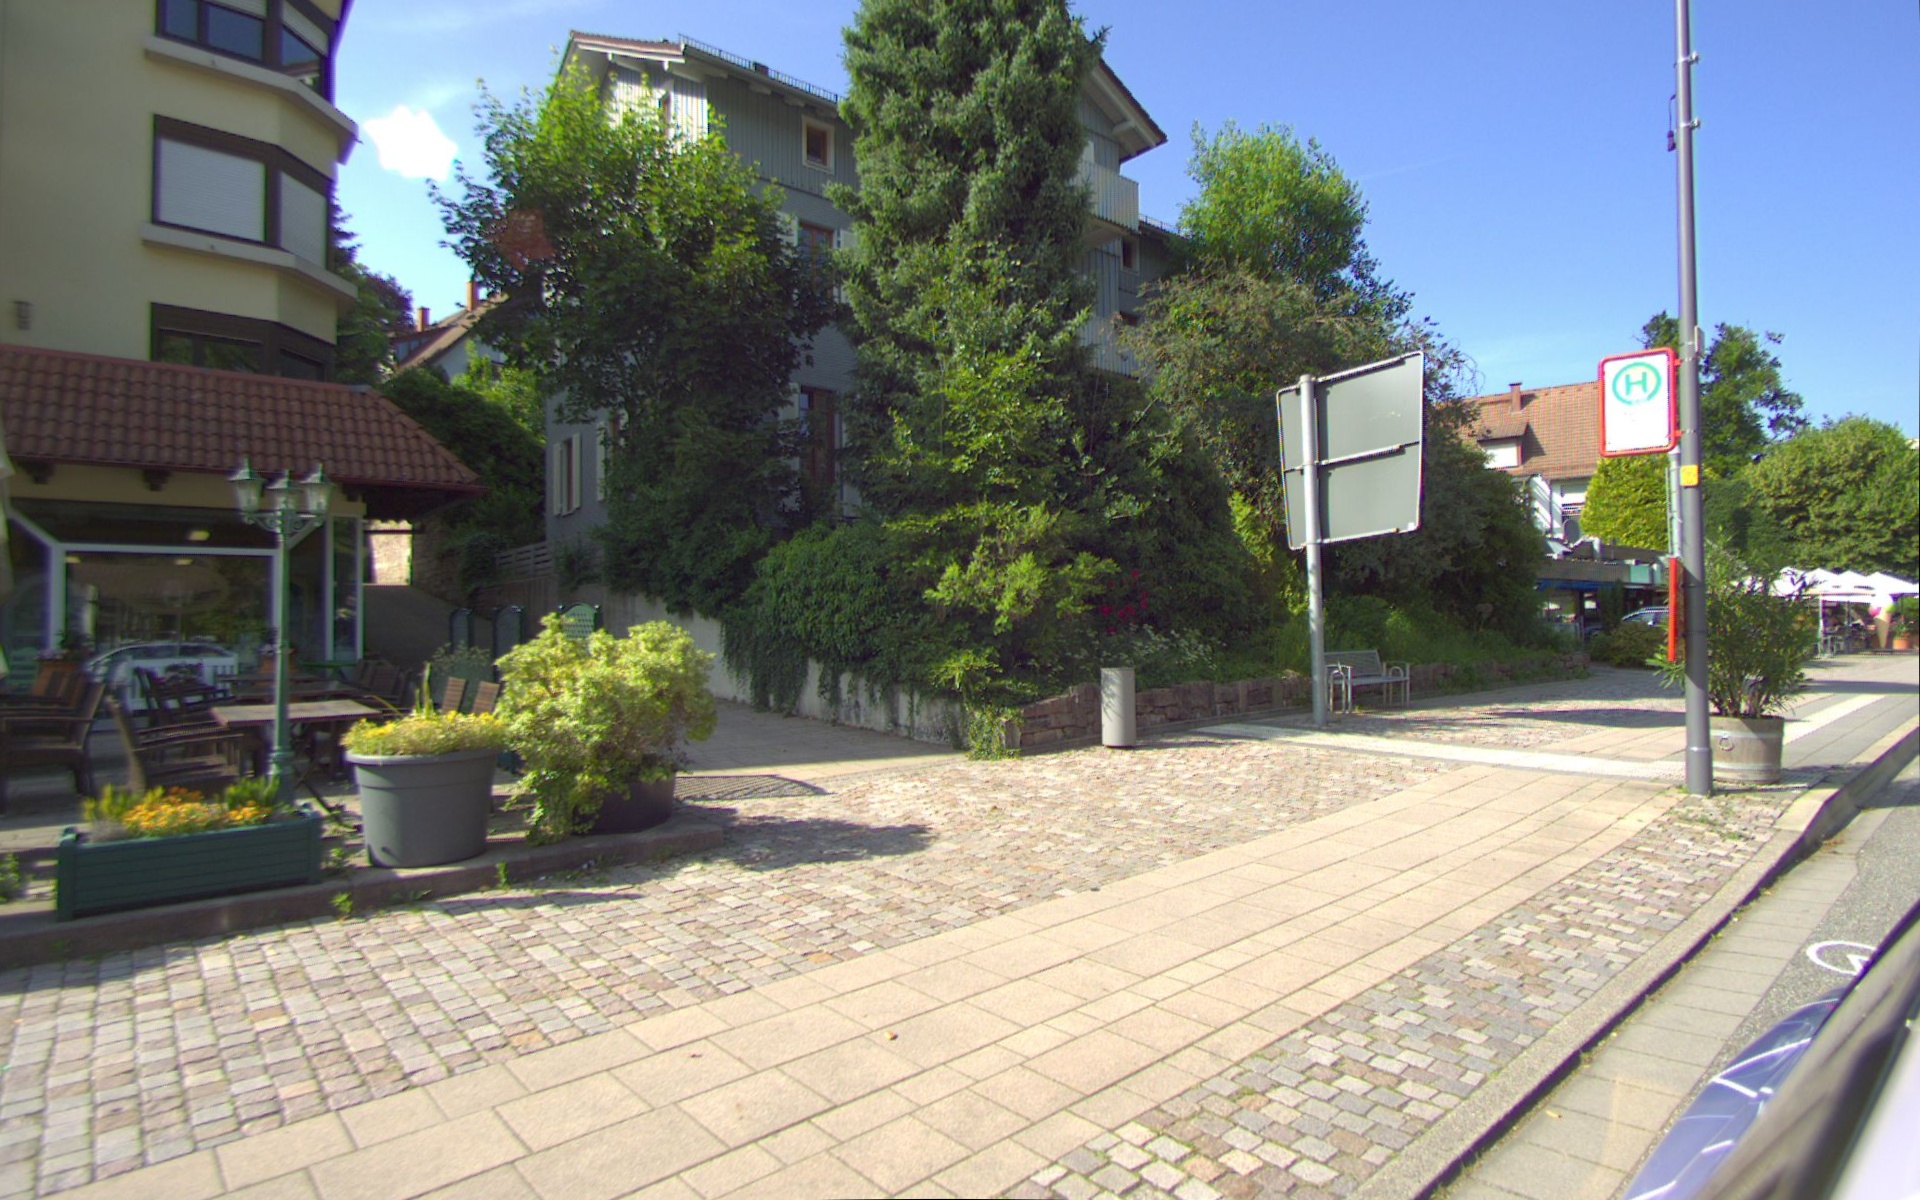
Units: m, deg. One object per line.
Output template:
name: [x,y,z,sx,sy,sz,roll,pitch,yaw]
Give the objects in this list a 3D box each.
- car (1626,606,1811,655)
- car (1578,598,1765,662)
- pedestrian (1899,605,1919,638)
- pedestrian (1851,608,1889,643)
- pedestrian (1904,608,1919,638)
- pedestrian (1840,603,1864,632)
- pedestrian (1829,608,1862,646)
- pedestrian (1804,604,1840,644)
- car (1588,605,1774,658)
car: [23.393,0.922,31.346,1.678,1.396,4.271,0,-1,-38]
car: [19.216,0.794,27.445,1.719,1.600,3.878,0,-2,-43]
pedestrian: [36.834,0.829,39.286,0.470,1.261,0.586,-1,0,34]
pedestrian: [33.987,0.938,37.811,0.686,1.277,0.814,0,-1,-21]
pedestrian: [41.232,0.976,43.466,0.634,1.300,0.949,1,-1,-41]
pedestrian: [39.443,0.776,44.747,0.685,1.247,0.509,0,-1,-20]
pedestrian: [30.283,0.905,34.601,0.809,1.277,0.690,-2,-2,42]
pedestrian: [30.761,0.855,36.111,0.692,1.399,0.807,-1,-1,20]
car: [21.045,0.905,29.680,1.717,1.433,4.118,0,-1,-38]
